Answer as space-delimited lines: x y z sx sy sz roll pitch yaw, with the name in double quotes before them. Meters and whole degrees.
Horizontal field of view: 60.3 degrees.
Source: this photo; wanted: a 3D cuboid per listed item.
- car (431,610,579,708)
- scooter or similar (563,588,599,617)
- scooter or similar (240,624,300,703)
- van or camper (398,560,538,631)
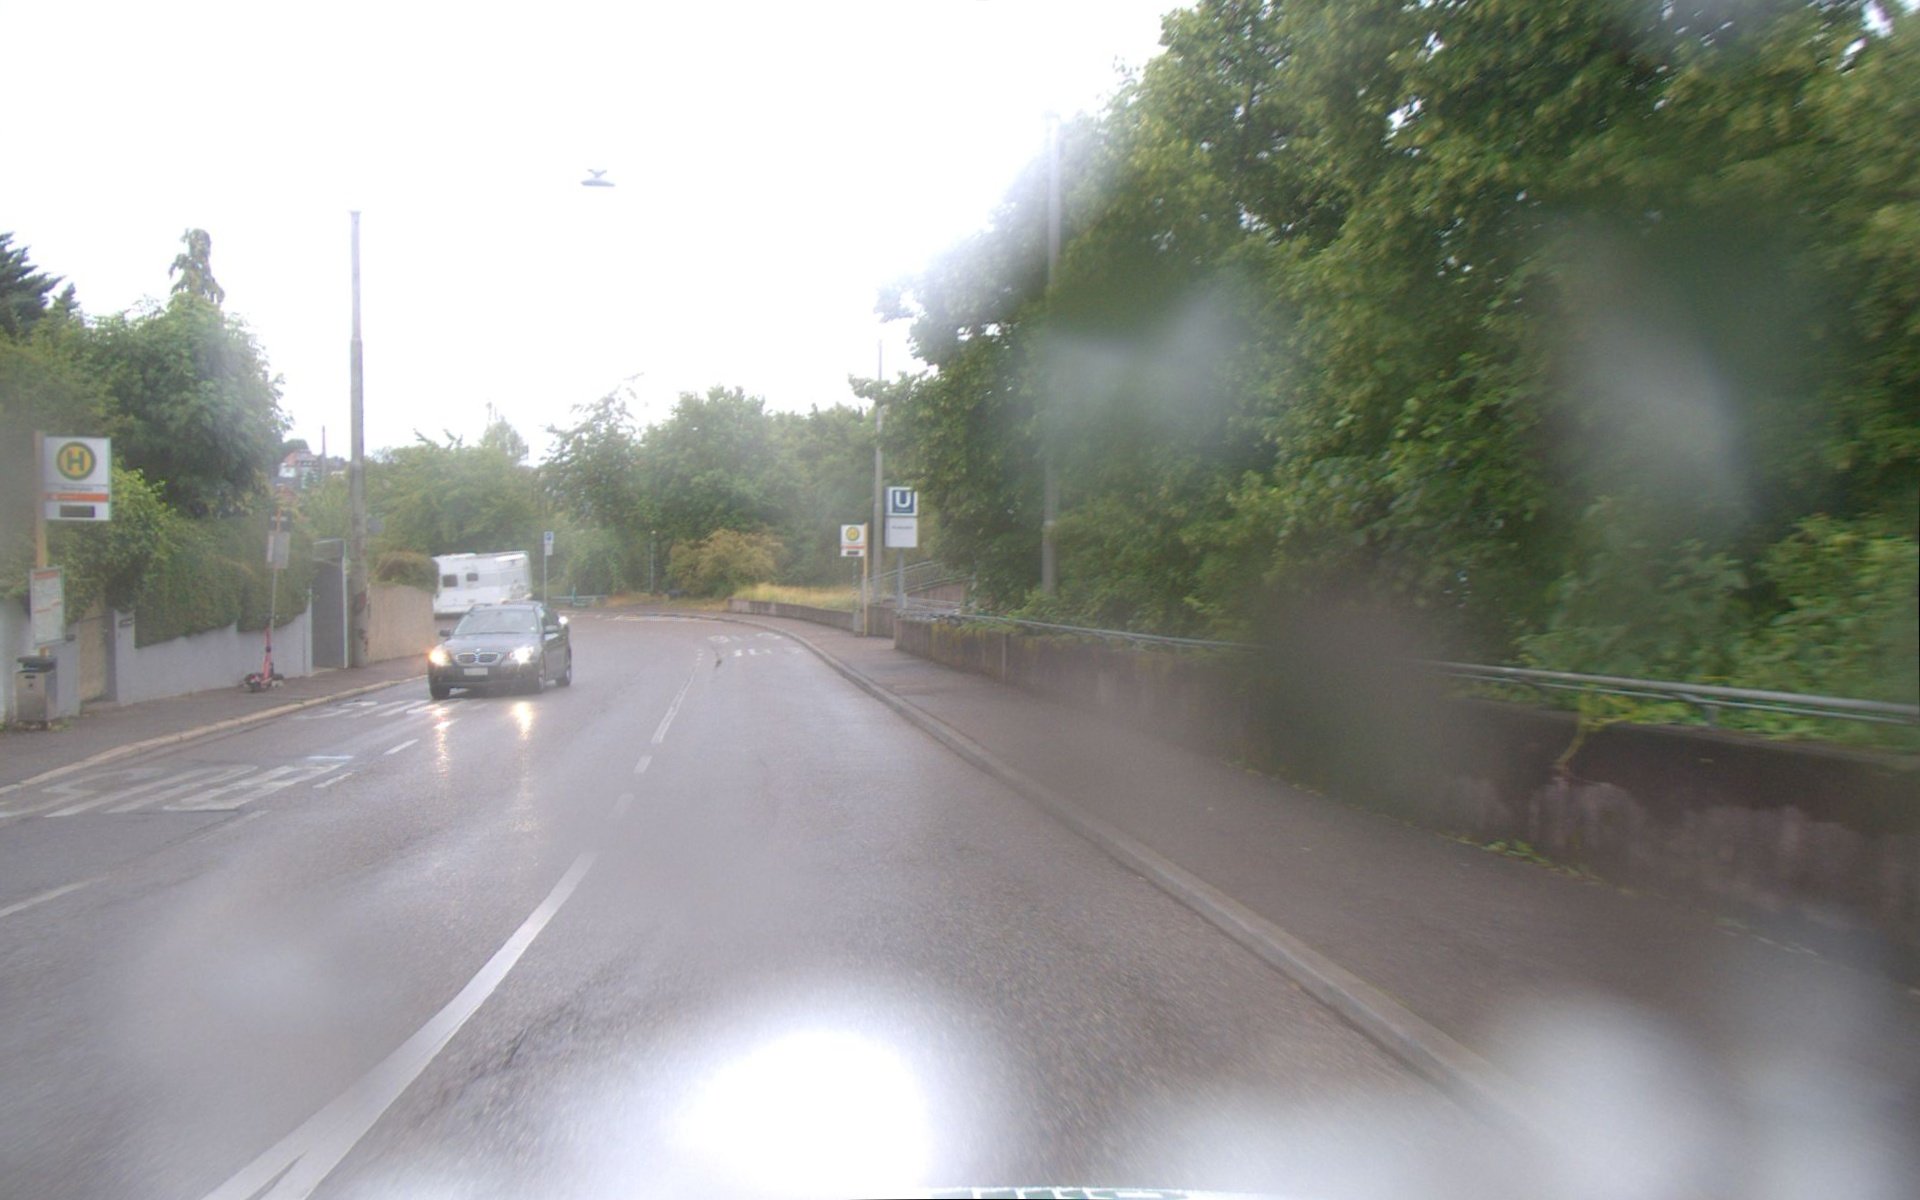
"car" -7.749 0.950 28.531 1.704 1.476 4.609 -2 0 -6
"scooter or similar" -18.362 0.141 80.171 1.670 1.304 0.452 -3 2 24
"scooter or similar" -11.439 1.044 27.469 0.512 1.224 1.433 -2 1 -8
"van or camper" -23.700 -0.211 79.659 6.134 2.993 2.399 -2 5 23
